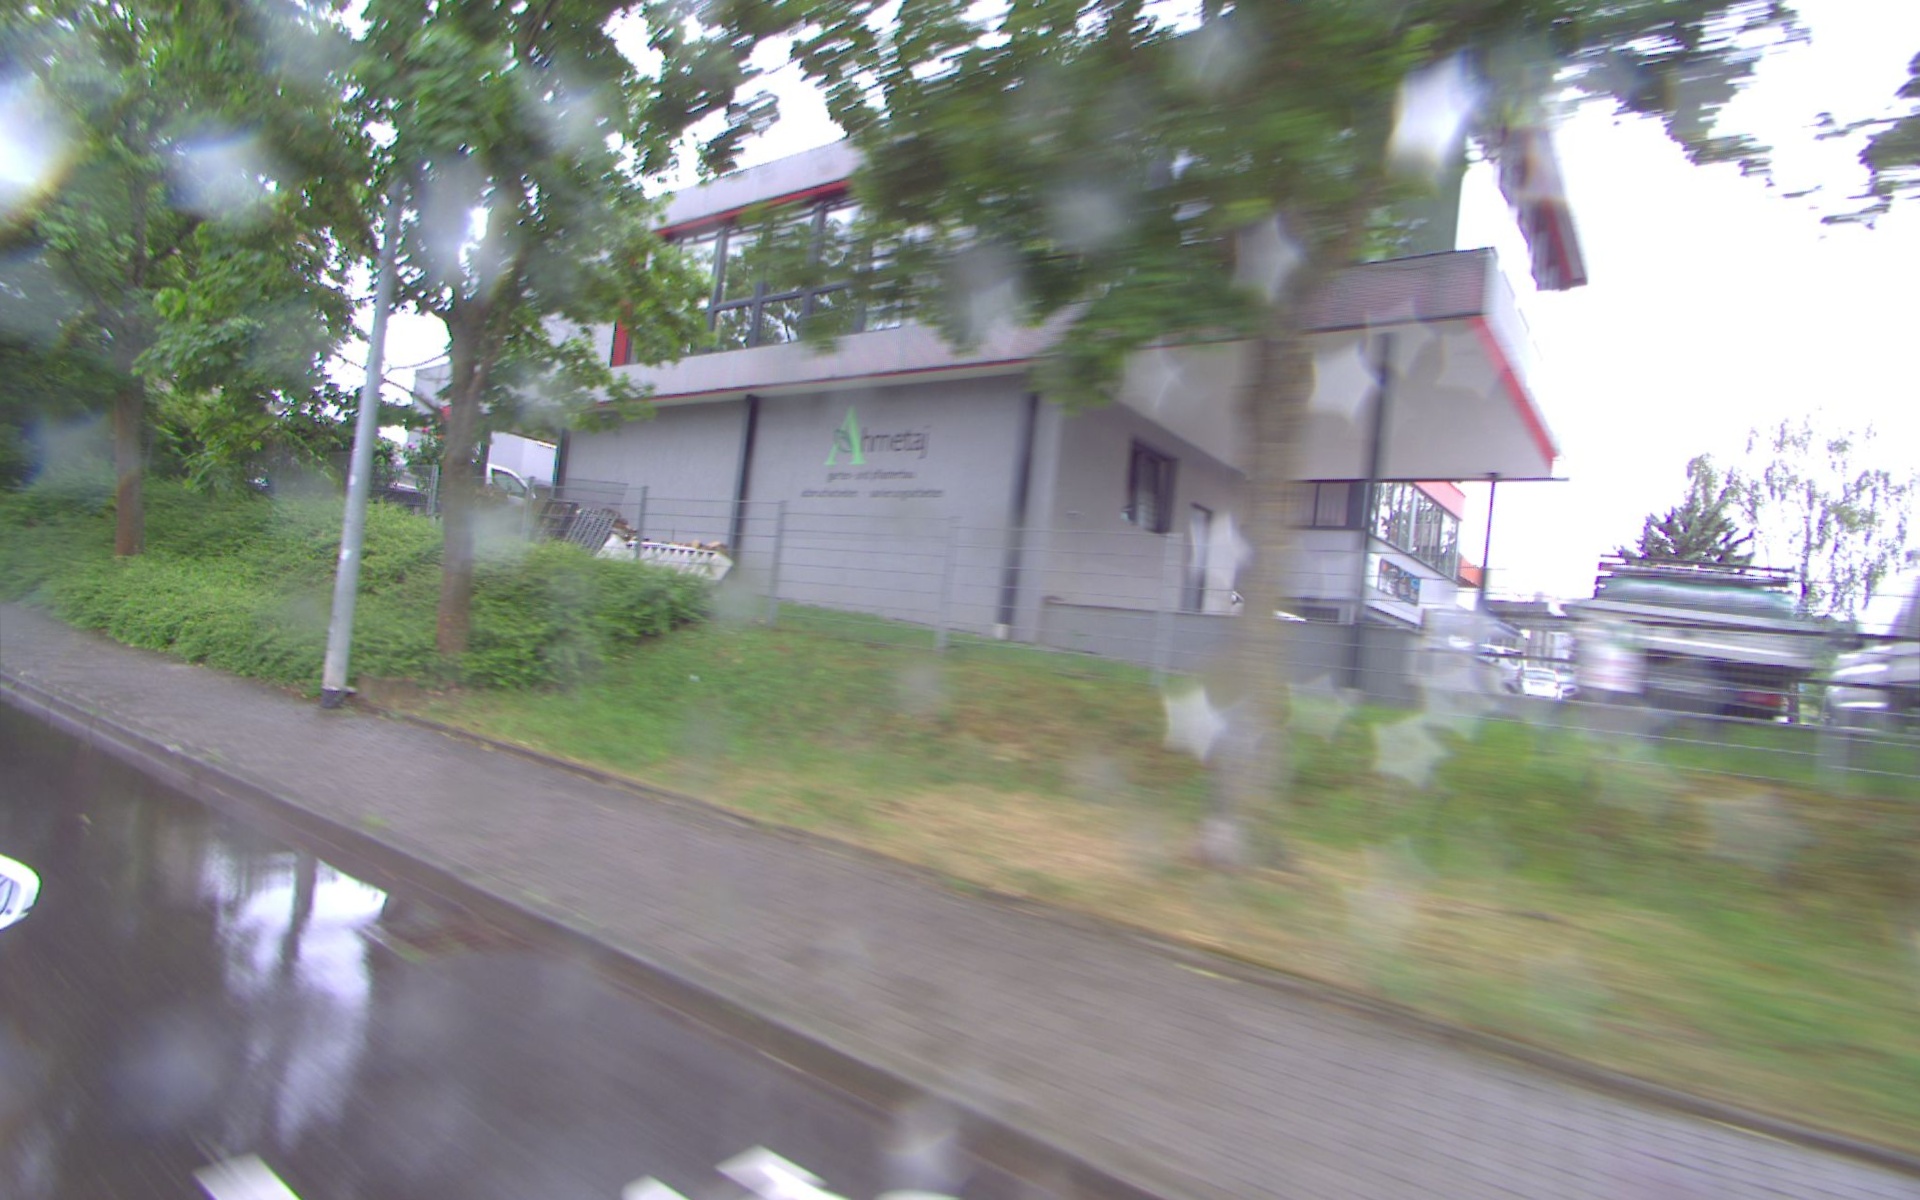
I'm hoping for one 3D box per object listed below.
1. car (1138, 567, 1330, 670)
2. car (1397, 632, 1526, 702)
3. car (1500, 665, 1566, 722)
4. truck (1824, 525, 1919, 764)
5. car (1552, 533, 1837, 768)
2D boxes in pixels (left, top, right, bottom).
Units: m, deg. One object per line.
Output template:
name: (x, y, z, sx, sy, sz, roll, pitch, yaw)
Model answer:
car: (6.707, 0.445, 24.715, 3.937, 2.039, 1.994, 6, 0, 35)
car: (13.430, 1.794, 26.962, 2.680, 1.465, 1.671, 7, 1, 38)
car: (22.410, 3.596, 39.303, 1.967, 1.860, 3.991, 6, 0, 31)
truck: (10.713, 0.567, 9.986, 2.212, 2.370, 4.829, 7, -1, 31)
car: (8.313, 0.584, 11.741, 2.030, 2.039, 4.925, 7, 0, 33)
